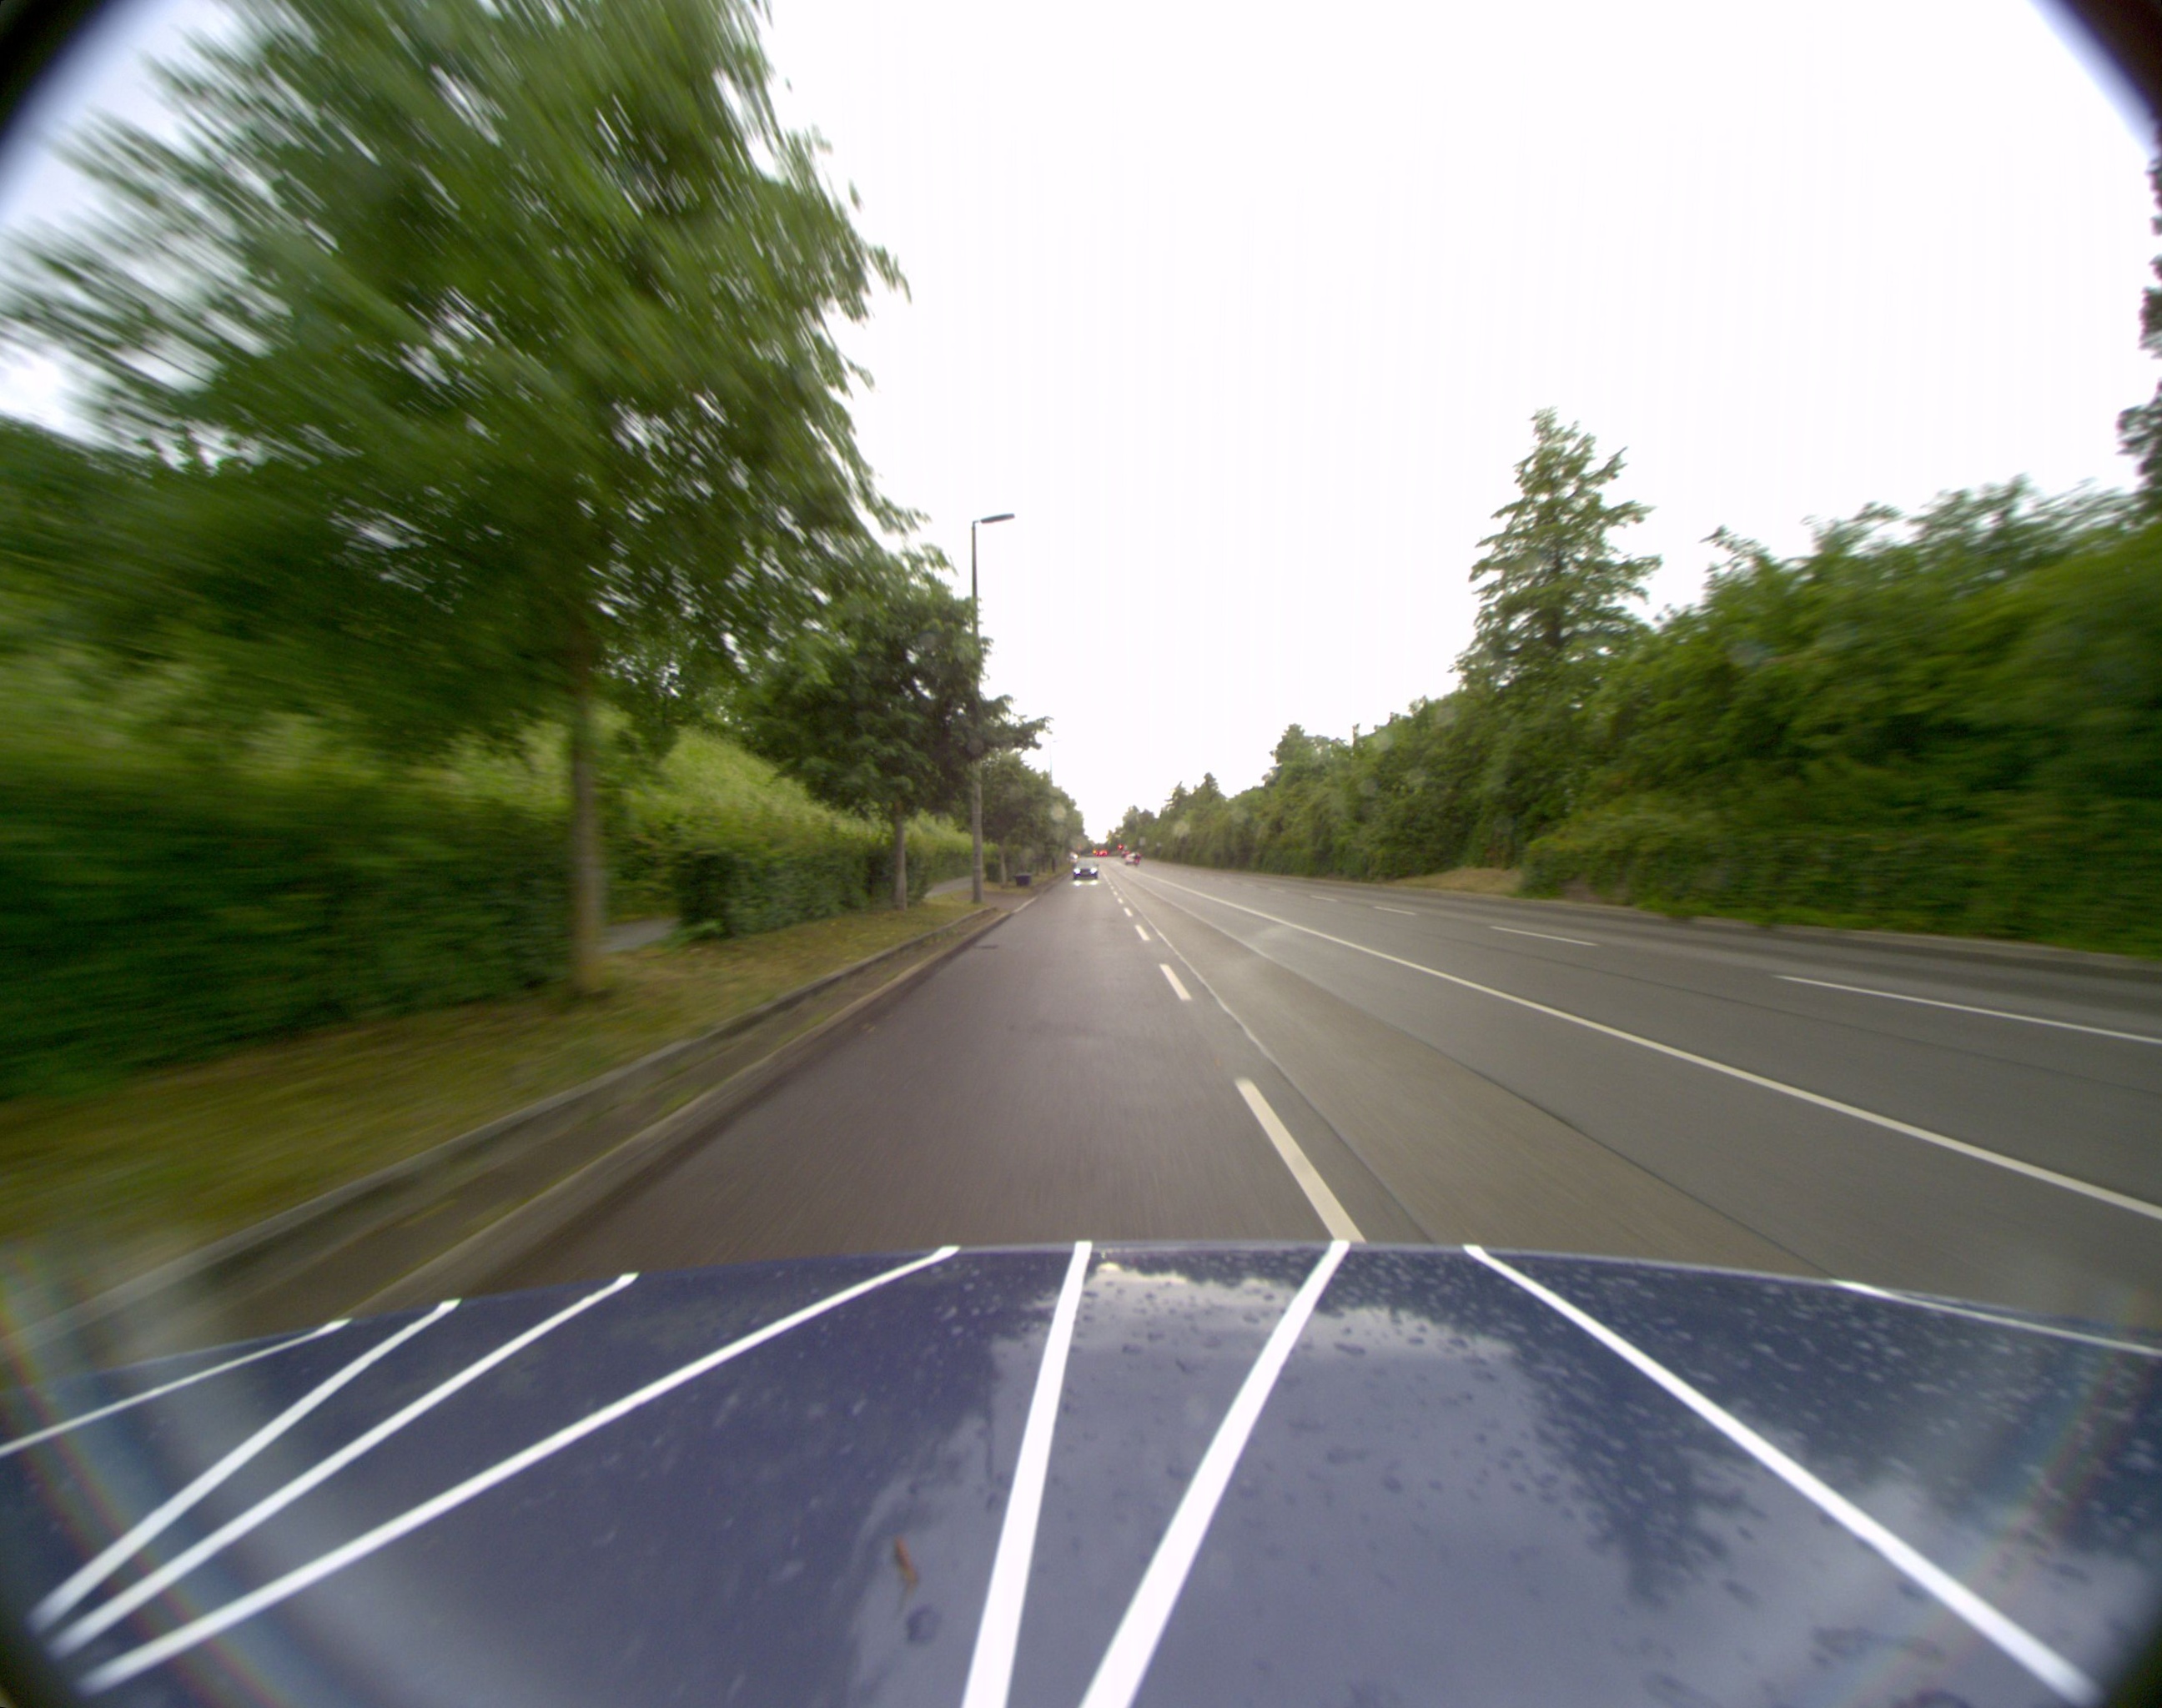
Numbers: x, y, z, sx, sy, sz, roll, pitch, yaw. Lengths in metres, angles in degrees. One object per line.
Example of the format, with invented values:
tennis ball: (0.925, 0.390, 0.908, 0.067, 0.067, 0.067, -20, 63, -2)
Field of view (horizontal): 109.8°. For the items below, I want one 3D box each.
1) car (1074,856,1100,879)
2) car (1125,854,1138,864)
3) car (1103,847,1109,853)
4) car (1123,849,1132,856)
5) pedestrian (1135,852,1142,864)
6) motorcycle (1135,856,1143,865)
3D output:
car: (0.399, 0.960, 56.868, 1.738, 1.577, 4.285, -1, 0, -2)
car: (7.686, 0.722, 115.017, 1.719, 1.496, 4.516, -3, 0, 1)
car: (7.177, -1.093, 218.940, 1.817, 1.648, 4.595, -2, 1, 1)
car: (11.003, -0.416, 178.720, 1.903, 1.544, 4.630, -3, 1, 1)
pedestrian: (7.583, 0.534, 99.601, 0.807, 1.532, 1.111, -2, 1, 1)
motorcycle: (7.594, 0.891, 99.625, 0.807, 1.124, 2.231, -2, 0, 1)
